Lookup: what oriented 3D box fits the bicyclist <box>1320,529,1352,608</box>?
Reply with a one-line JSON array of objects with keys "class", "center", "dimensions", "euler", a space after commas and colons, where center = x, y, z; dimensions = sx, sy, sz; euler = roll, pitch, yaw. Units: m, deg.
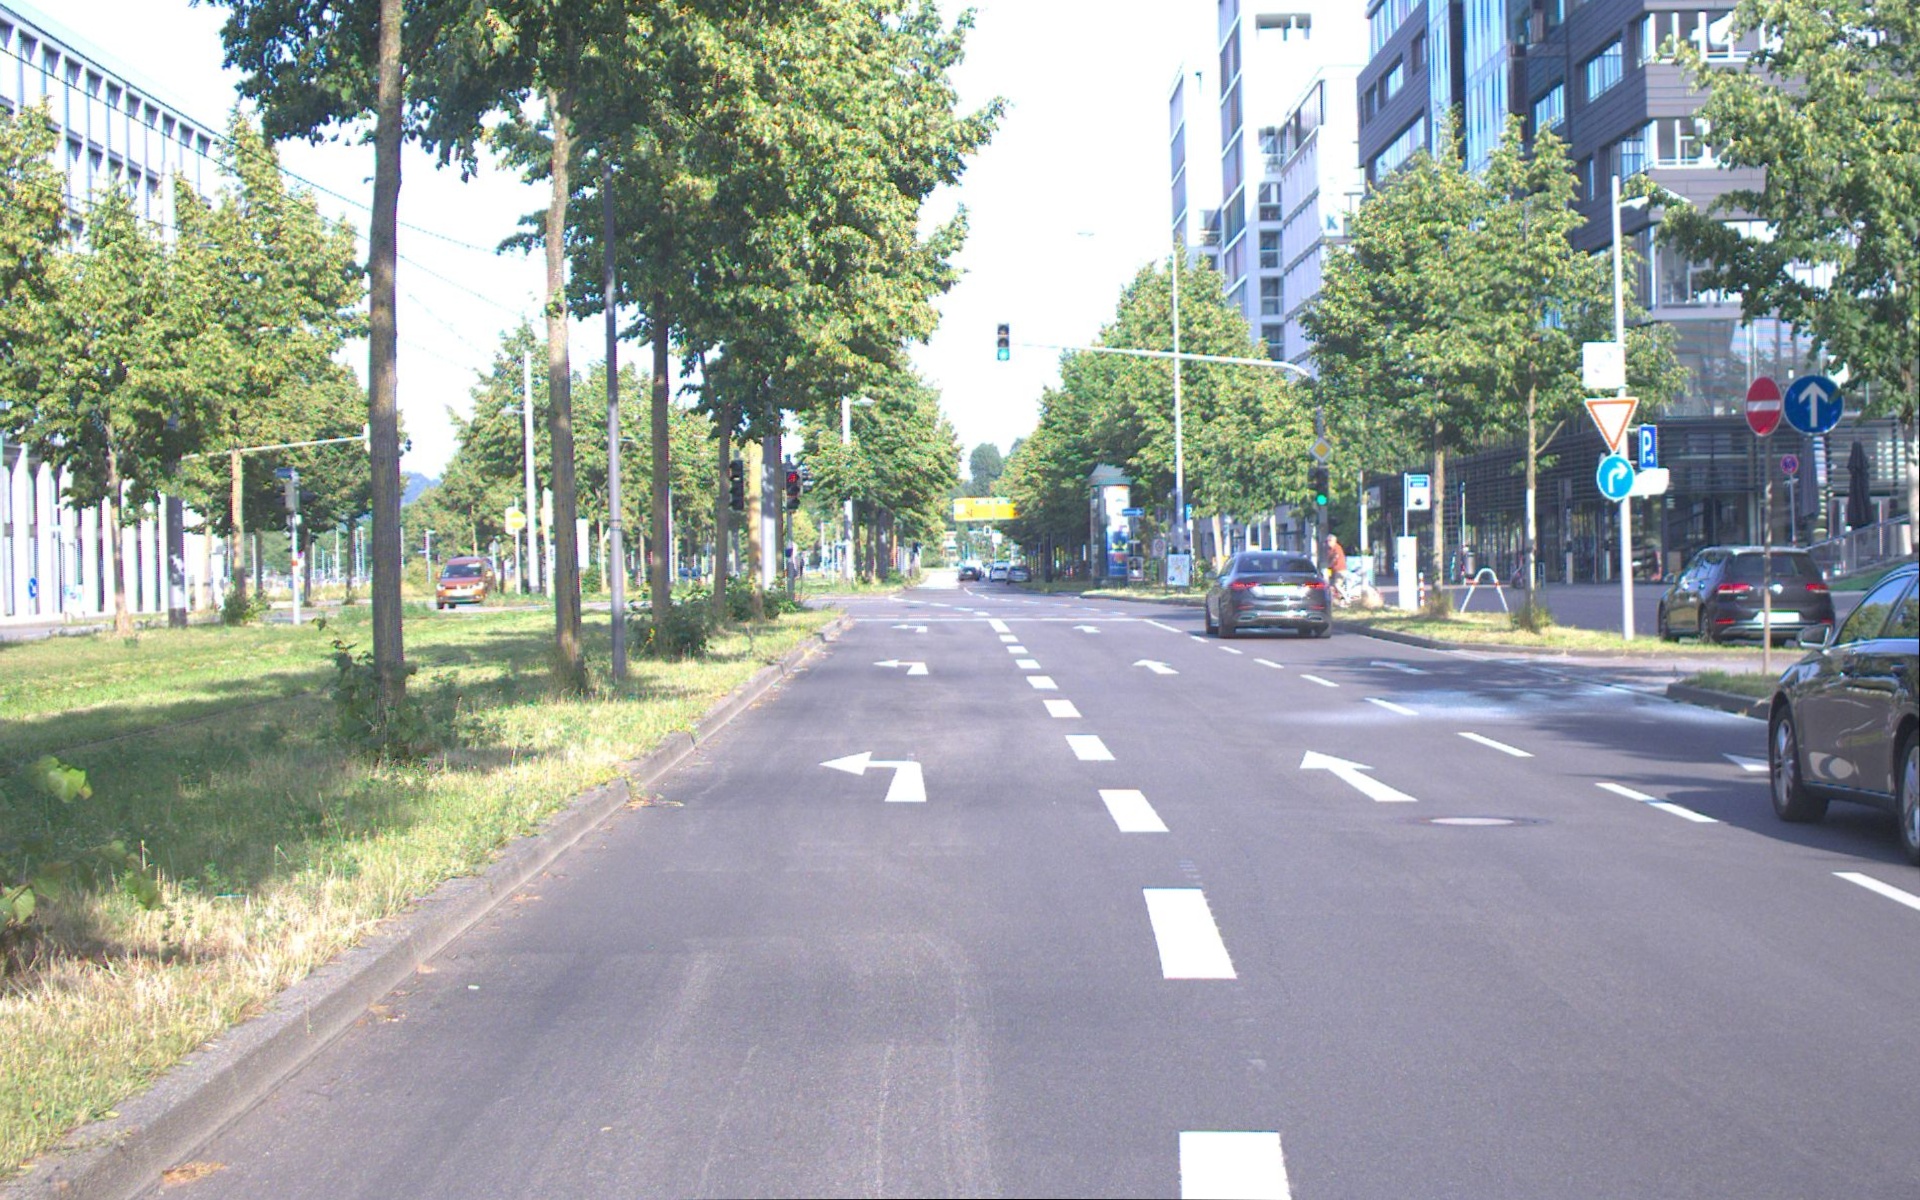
[{"class": "bicyclist", "center": [8.152, -0.676, 74.560], "dimensions": [0.574, 1.701, 0.541], "euler": [1, 0, -4]}]

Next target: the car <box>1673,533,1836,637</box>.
[{"class": "car", "center": [10.998, -0.210, 47.829], "dimensions": [1.607, 1.366, 4.157], "euler": [1, 0, 5]}]

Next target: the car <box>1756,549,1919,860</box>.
[{"class": "car", "center": [5.276, 0.477, 16.982], "dimensions": [1.774, 1.419, 3.961], "euler": [1, 0, 0]}]

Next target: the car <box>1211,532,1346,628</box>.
[{"class": "car", "center": [5.220, -0.333, 56.759], "dimensions": [1.859, 1.519, 3.785], "euler": [1, 0, 0]}]

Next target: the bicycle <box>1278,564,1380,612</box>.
[{"class": "bicycle", "center": [7.999, -0.265, 74.541], "dimensions": [2.134, 1.009, 0.571], "euler": [1, 0, -4]}]

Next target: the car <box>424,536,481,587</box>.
[{"class": "car", "center": [-18.082, -1.357, 122.596], "dimensions": [1.684, 1.769, 3.883], "euler": [1, 0, -4]}]
